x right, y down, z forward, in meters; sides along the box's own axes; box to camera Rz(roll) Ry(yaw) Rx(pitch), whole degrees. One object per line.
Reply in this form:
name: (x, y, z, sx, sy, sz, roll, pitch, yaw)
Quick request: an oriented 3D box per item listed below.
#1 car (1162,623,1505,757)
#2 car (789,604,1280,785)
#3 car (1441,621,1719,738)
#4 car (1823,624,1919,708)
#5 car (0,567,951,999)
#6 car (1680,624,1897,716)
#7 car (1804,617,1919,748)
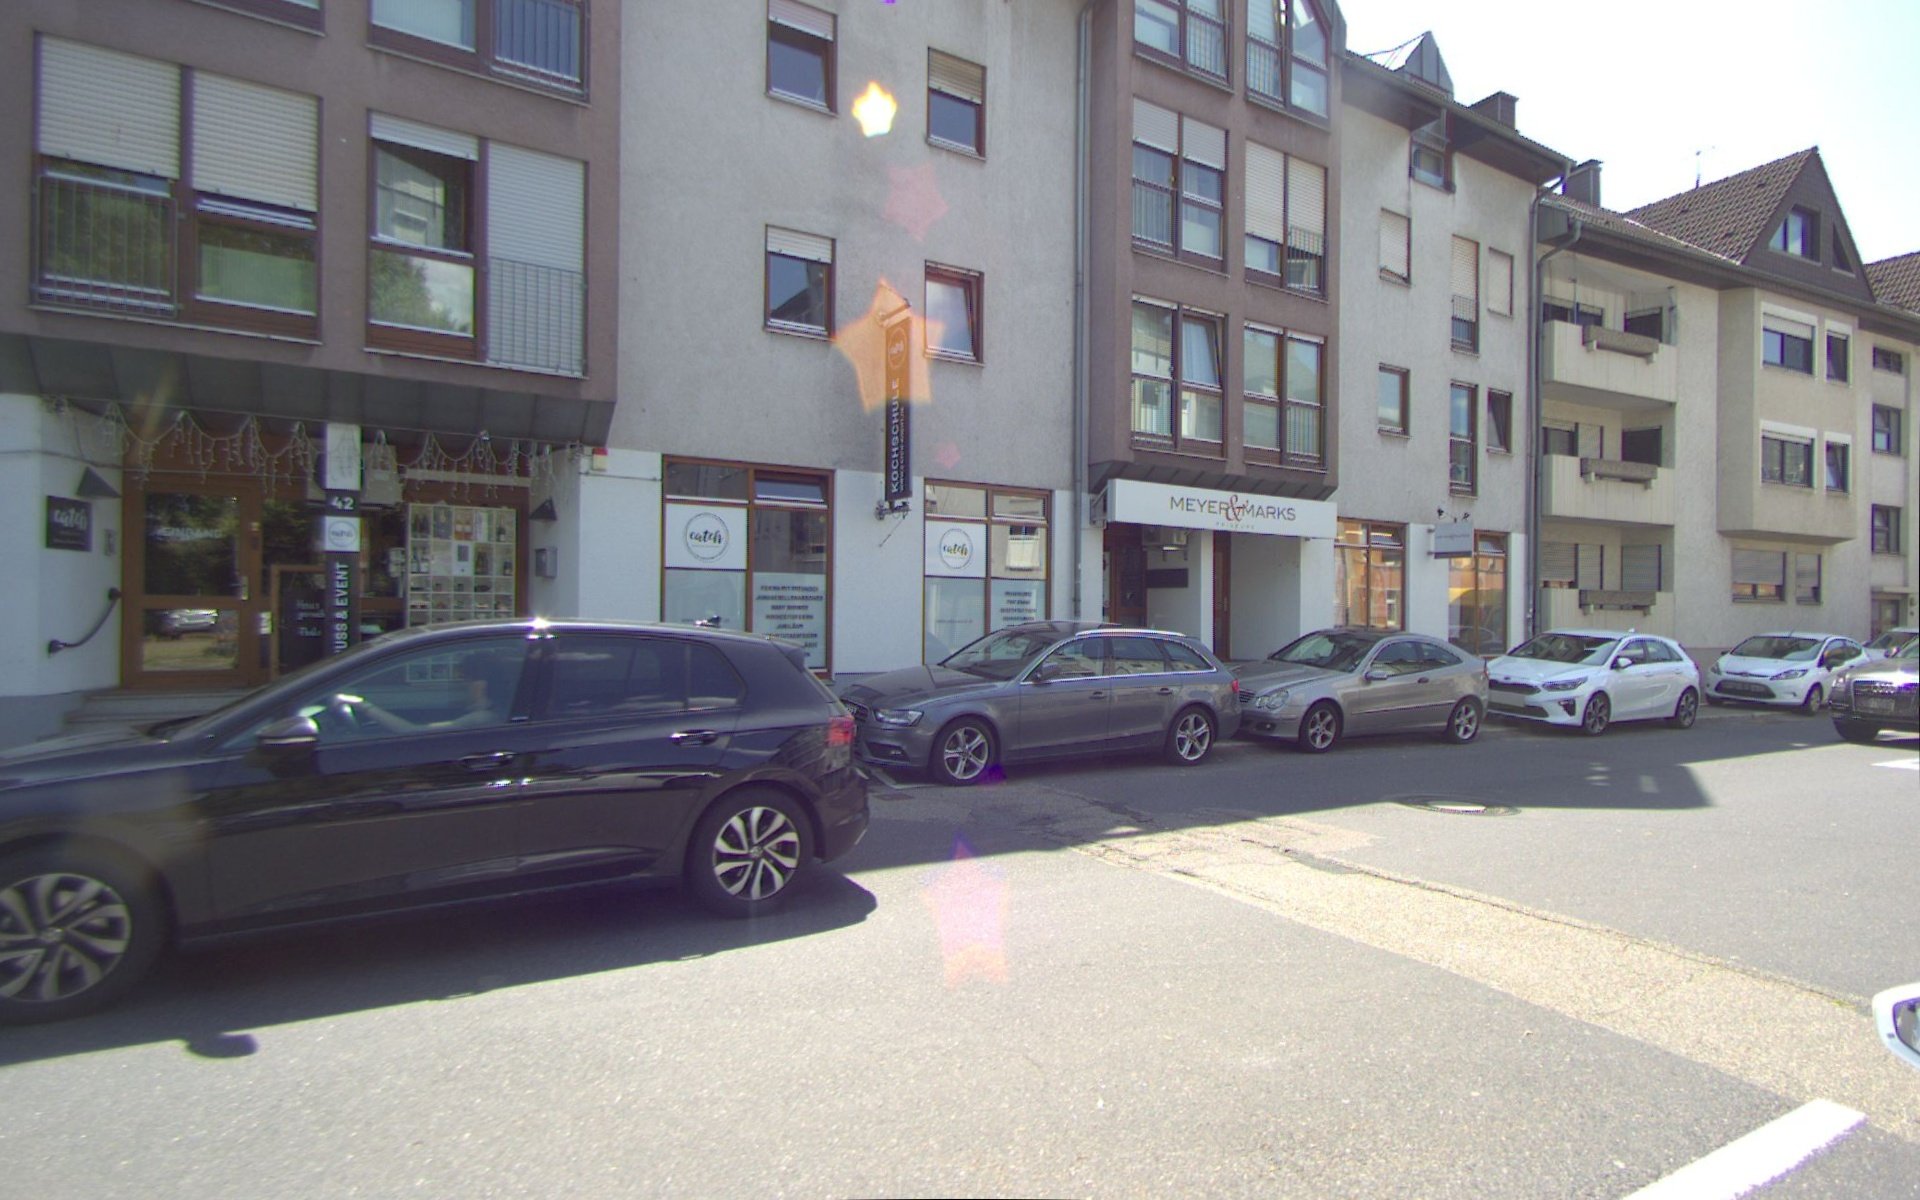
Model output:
car: (4.907, 1.087, 13.090, 4.275, 1.402, 1.831, 2, 1, -30)
car: (0.867, 0.878, 10.524, 4.908, 1.467, 1.832, 2, 1, -29)
car: (9.692, 1.163, 15.633, 4.336, 1.509, 1.830, 2, 1, -31)
car: (21.047, 1.417, 22.028, 4.335, 1.617, 1.831, 2, 1, -30)
car: (-2.269, 0.670, 4.960, 4.176, 1.438, 1.733, 2, -2, -32)
car: (16.259, 1.321, 19.676, 4.335, 1.509, 1.831, 2, 1, -30)
car: (14.084, 1.110, 13.726, 4.369, 1.642, 1.812, 1, -2, -16)
